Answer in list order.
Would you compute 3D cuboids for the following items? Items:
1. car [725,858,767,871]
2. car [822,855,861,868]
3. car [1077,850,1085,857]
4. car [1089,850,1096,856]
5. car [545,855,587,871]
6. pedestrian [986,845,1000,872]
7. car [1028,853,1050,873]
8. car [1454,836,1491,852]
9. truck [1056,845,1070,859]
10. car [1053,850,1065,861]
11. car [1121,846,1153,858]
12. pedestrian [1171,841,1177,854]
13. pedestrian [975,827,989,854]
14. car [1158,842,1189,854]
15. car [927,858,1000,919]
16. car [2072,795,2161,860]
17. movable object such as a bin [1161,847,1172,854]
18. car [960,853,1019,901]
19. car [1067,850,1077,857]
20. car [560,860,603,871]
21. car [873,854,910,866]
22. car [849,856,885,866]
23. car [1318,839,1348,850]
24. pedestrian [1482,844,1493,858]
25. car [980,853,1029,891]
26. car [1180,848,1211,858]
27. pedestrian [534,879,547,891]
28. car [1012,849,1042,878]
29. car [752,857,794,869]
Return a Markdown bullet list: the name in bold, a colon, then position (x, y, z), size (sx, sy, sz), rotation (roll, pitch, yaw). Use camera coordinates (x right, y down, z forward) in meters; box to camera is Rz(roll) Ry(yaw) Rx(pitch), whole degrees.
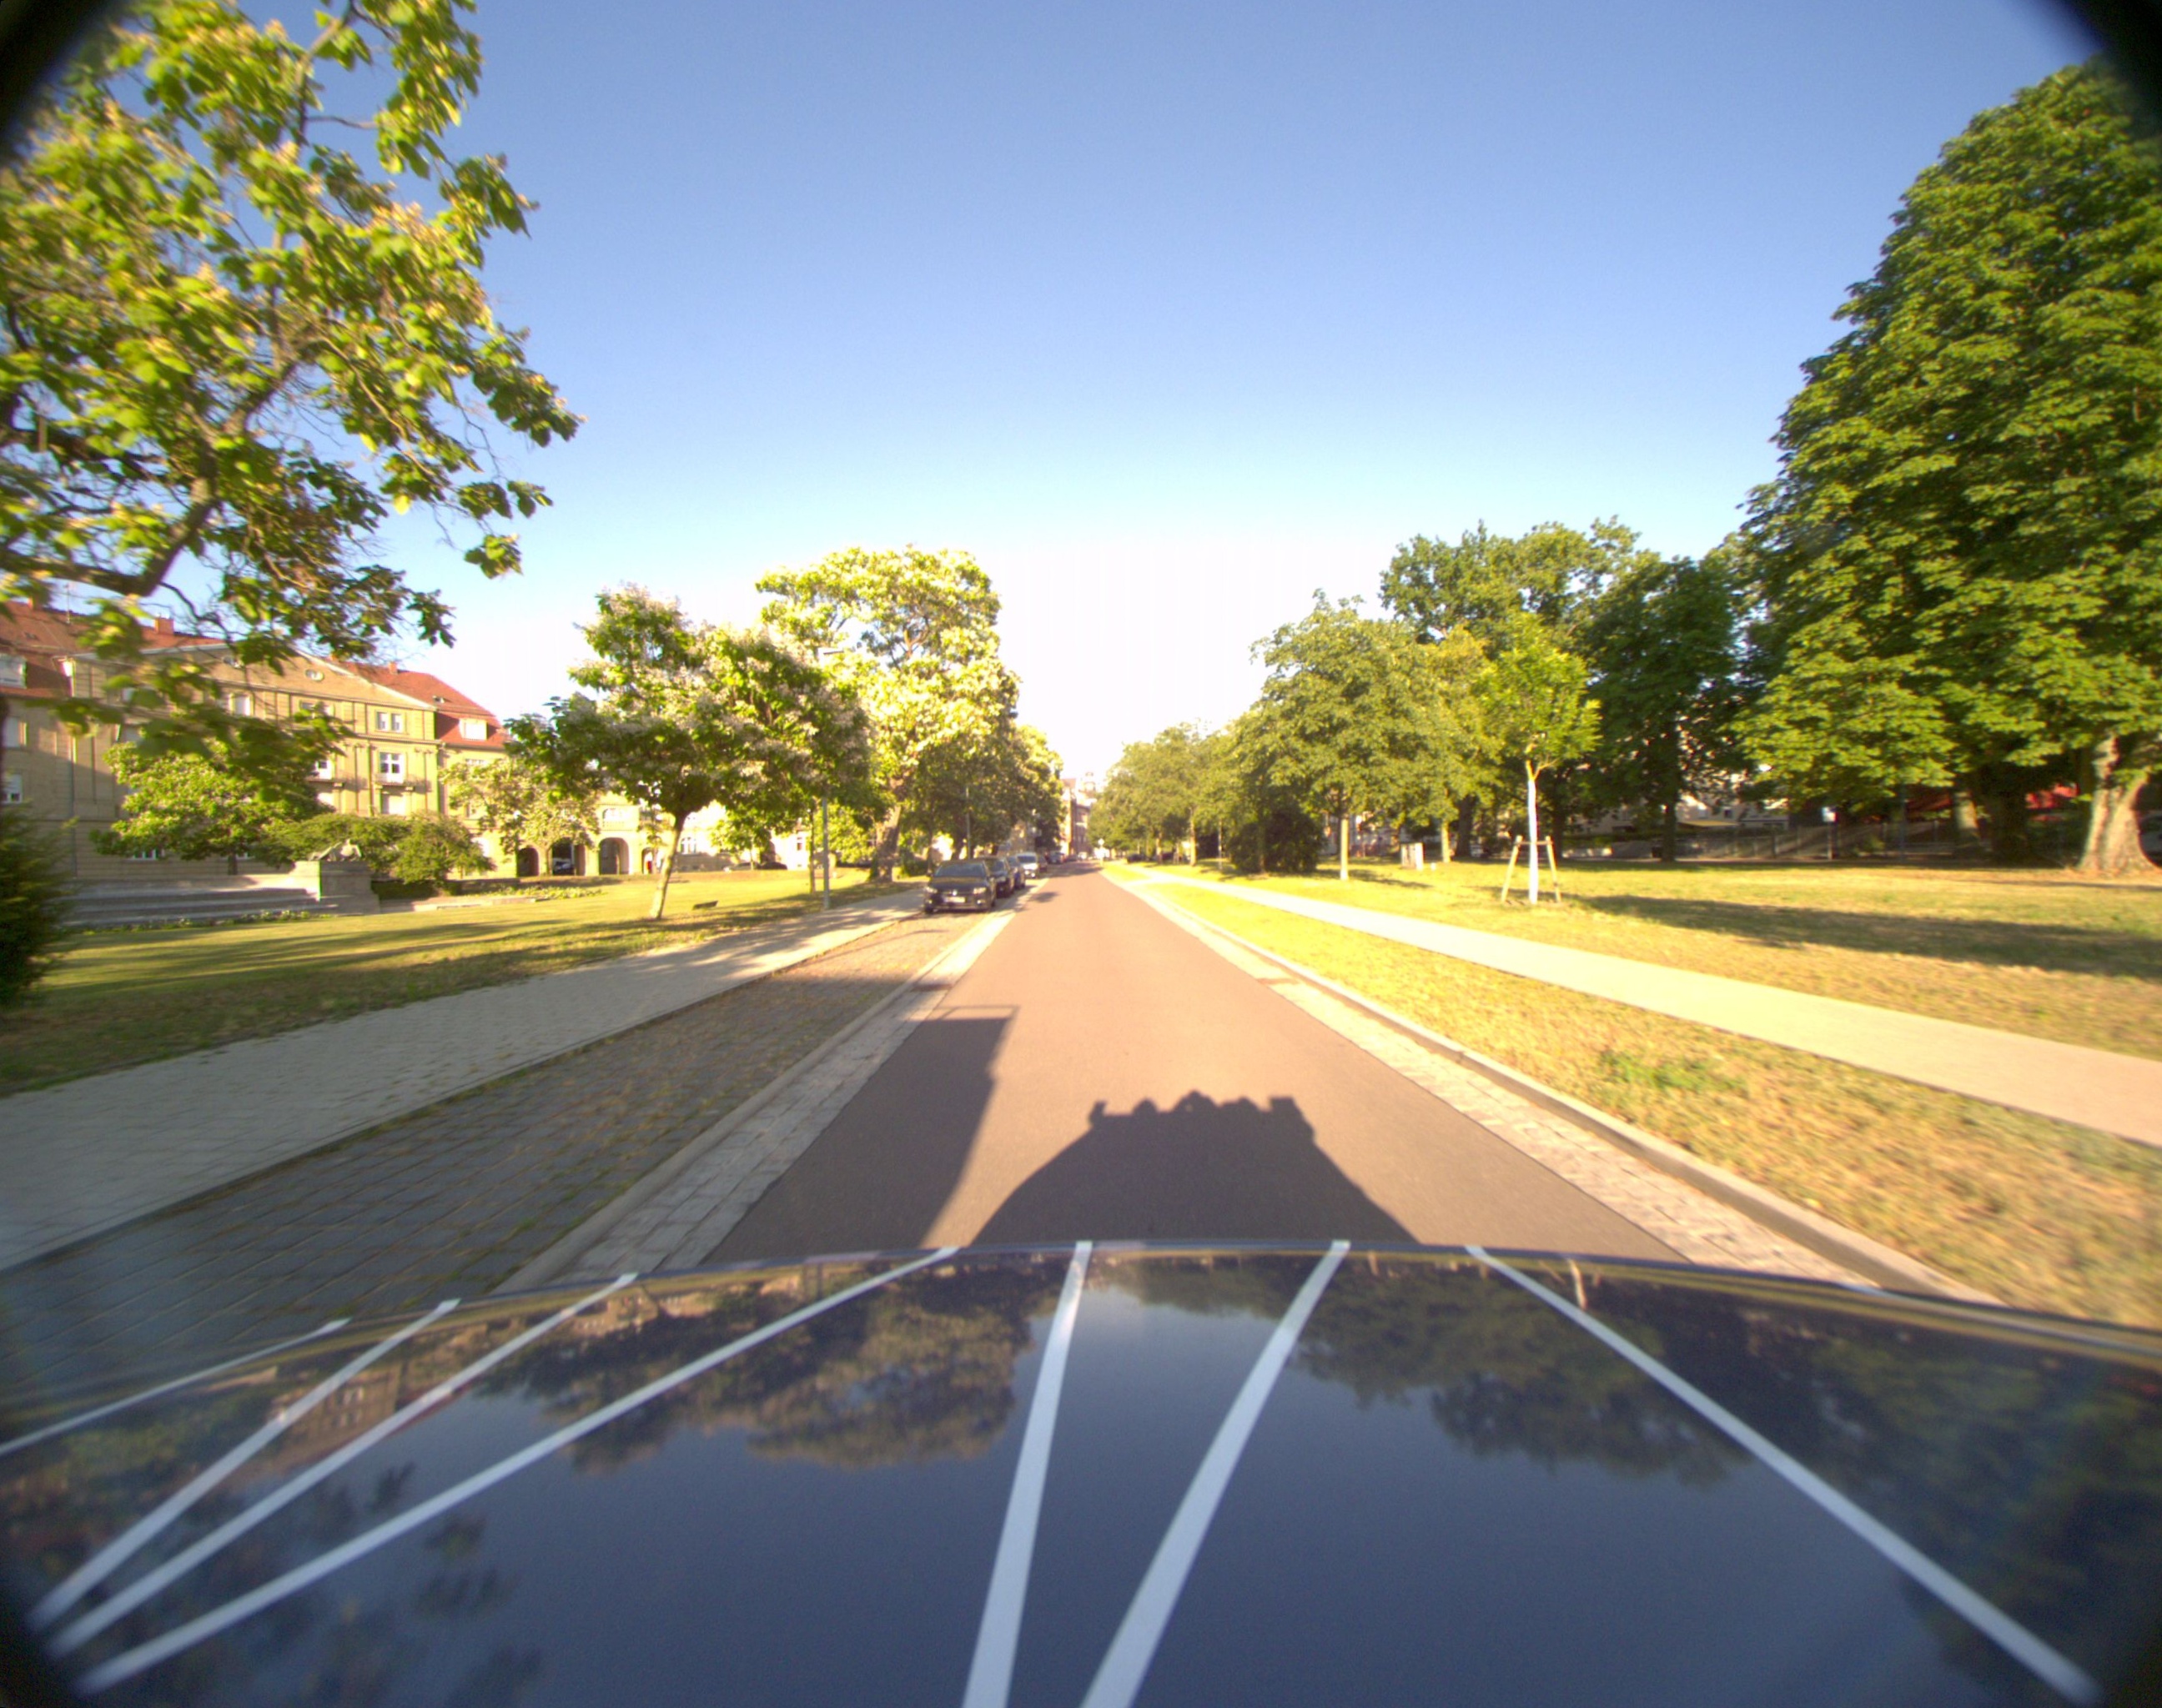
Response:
- **car**: position (-39.456, 1.251, 89.543), size (4.378, 1.409, 1.815), rotation (-1, 1, -30)
- **car**: position (-29.801, 0.903, 94.556), size (4.444, 1.409, 1.563), rotation (-1, 1, -24)
- **car**: position (0.064, -0.133, 178.321), size (1.509, 1.437, 3.731), rotation (-1, 1, 6)
- **car**: position (3.058, -0.349, 199.849), size (1.582, 1.499, 3.848), rotation (-1, 1, 6)
- **car**: position (-71.239, 1.172, 105.181), size (1.814, 2.096, 4.380), rotation (0, 1, 37)
- **pedestrian**: position (-5.614, 0.294, 48.491), size (0.755, 1.726, 0.731), rotation (-2, 1, 0)
- **car**: position (-3.510, 0.723, 63.946), size (1.682, 1.477, 4.808), rotation (-1, 1, -1)
- **car**: position (41.742, -1.070, 81.165), size (1.999, 1.608, 3.737), rotation (-2, 1, 0)
- **truck**: position (-3.264, -0.399, 139.093), size (2.133, 2.549, 6.876), rotation (-1, 1, 2)
- **car**: position (-3.363, 0.298, 116.788), size (1.707, 1.616, 4.348), rotation (1, 0, 0)
- **car**: position (7.841, -0.277, 106.000), size (4.005, 1.565, 1.886), rotation (-2, 3, -25)
- **pedestrian**: position (12.123, -0.820, 98.824), size (0.663, 1.686, 0.672), rotation (-2, 1, 1)
- **pedestrian**: position (-6.441, -0.865, 49.500), size (0.727, 1.726, 0.731), rotation (-2, 1, 0)
- **car**: position (13.228, -0.910, 108.769), size (4.005, 1.565, 1.886), rotation (-2, 3, -25)
- **car**: position (-3.212, 0.885, 21.425), size (1.631, 1.455, 4.247), rotation (-1, 1, -4)
- **car**: position (42.477, -1.022, 28.317), size (2.728, 2.449, 6.316), rotation (-1, 1, -2)
- **movable object such as a bin**: position (11.137, -0.458, 98.841), size (1.332, 0.984, 0.949), rotation (-1, 1, 1)
- **car**: position (-3.291, 0.786, 28.006), size (1.736, 1.542, 4.421), rotation (-1, 1, -2)
- **car**: position (-1.913, -0.054, 162.528), size (1.610, 1.349, 3.549), rotation (-1, 1, 6)
- **car**: position (-66.436, 1.499, 101.155), size (1.814, 1.409, 4.380), rotation (0, 1, 34)
- **car**: position (-24.170, 0.785, 96.825), size (4.371, 1.409, 1.842), rotation (-1, 1, -20)
- **car**: position (-28.626, 0.918, 101.519), size (4.458, 1.317, 1.502), rotation (-1, 1, -22)
- **car**: position (36.918, -1.392, 111.323), size (2.003, 1.608, 3.730), rotation (-2, 1, -28)
- **pedestrian**: position (28.069, -0.190, 52.485), size (0.549, 0.981, 0.610), rotation (-1, 1, 10)
- **car**: position (-3.381, 0.763, 34.257), size (1.736, 1.542, 4.275), rotation (-1, 1, 0)
- **car**: position (17.664, -0.209, 117.106), size (4.281, 1.392, 1.836), rotation (-1, 1, -22)
- **pedestrian**: position (-43.234, 2.478, 60.776), size (0.576, 0.876, 0.678), rotation (-1, 1, 37)
- **car**: position (-3.456, 0.588, 49.674), size (1.682, 1.730, 4.512), rotation (-1, 1, -1)
- **car**: position (-39.209, 1.145, 96.688), size (4.657, 1.409, 1.815), rotation (-1, 1, -32)
